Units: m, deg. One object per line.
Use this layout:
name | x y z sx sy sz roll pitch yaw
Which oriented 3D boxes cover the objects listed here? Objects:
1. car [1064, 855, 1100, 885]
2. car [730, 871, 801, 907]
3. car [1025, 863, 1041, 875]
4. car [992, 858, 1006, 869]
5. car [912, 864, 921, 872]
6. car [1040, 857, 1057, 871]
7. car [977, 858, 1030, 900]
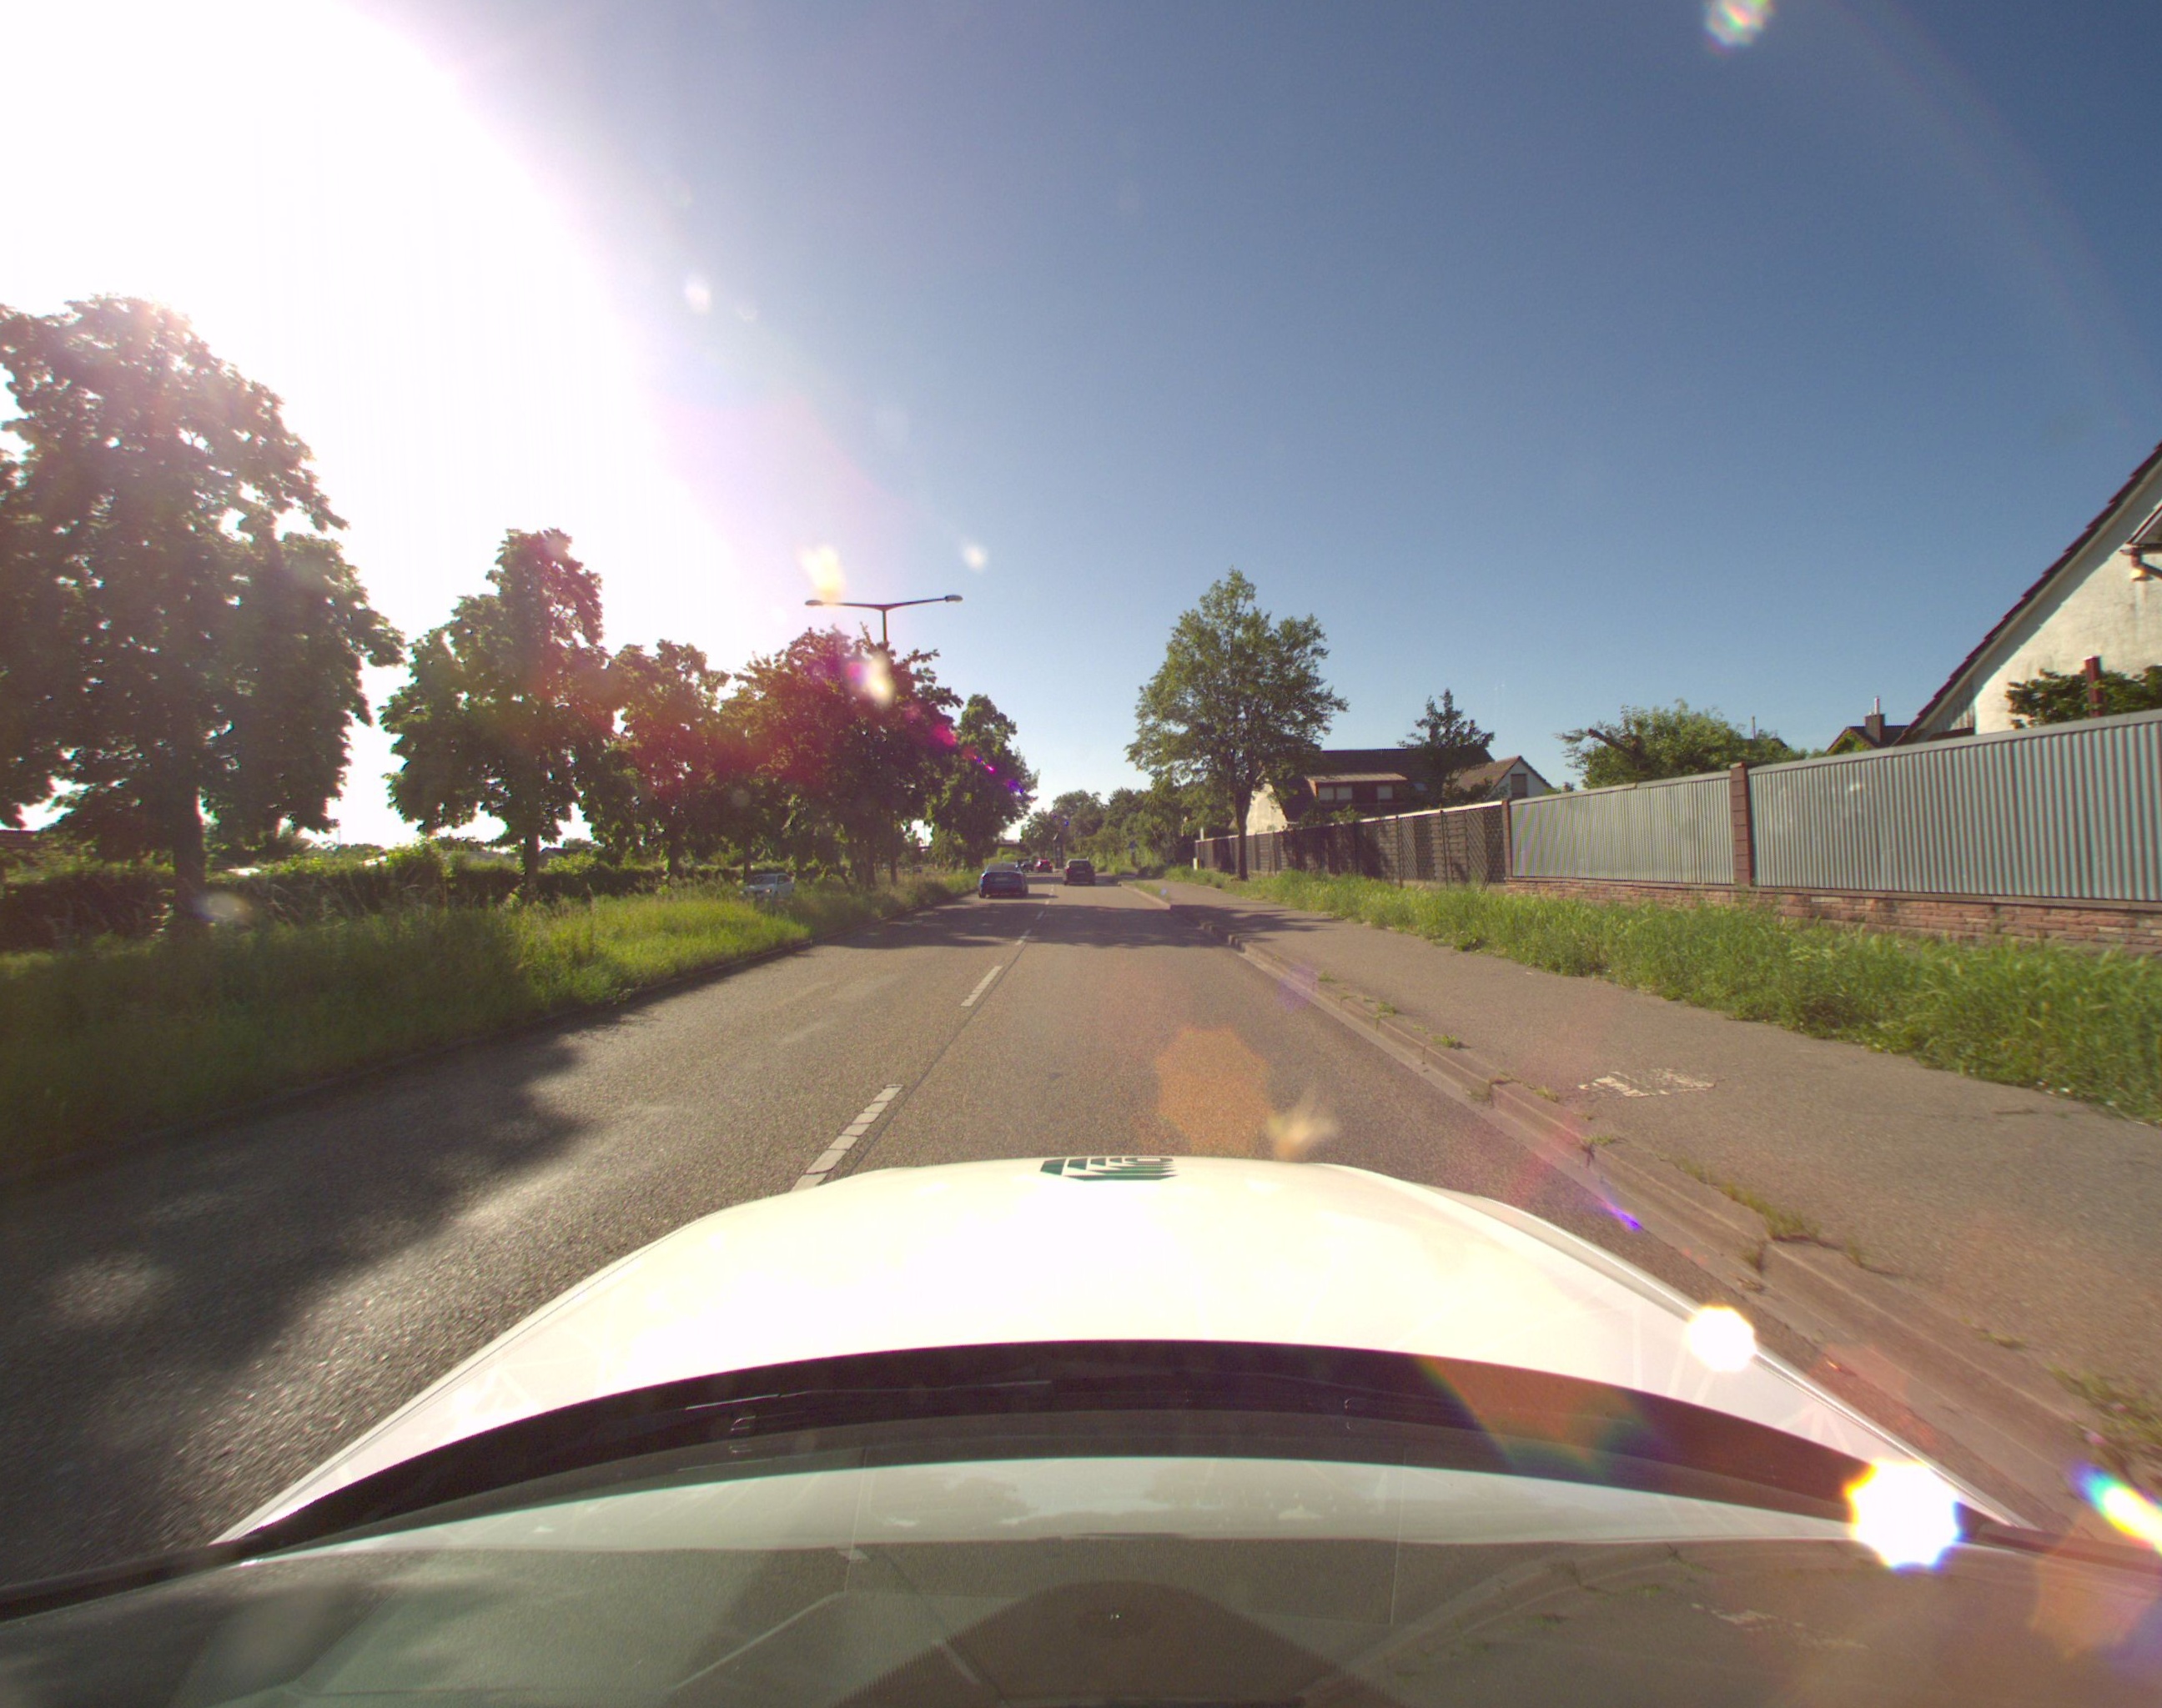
car | -0.002 0.885 46.877 1.910 1.579 4.179 -2 0 -2
car | -15.139 1.641 39.337 1.664 1.467 4.178 -5 0 0
car | -7.072 2.214 118.769 1.915 1.678 3.999 -1 -1 -10
car | -11.645 1.375 116.152 1.913 1.512 4.059 -2 0 -6
car | -32.228 2.696 159.525 1.670 1.467 3.769 -2 0 -10
car | -3.816 1.194 94.867 1.912 1.579 4.176 -1 -1 -4
car | -3.123 0.971 33.492 1.833 1.474 4.182 -2 1 -1
